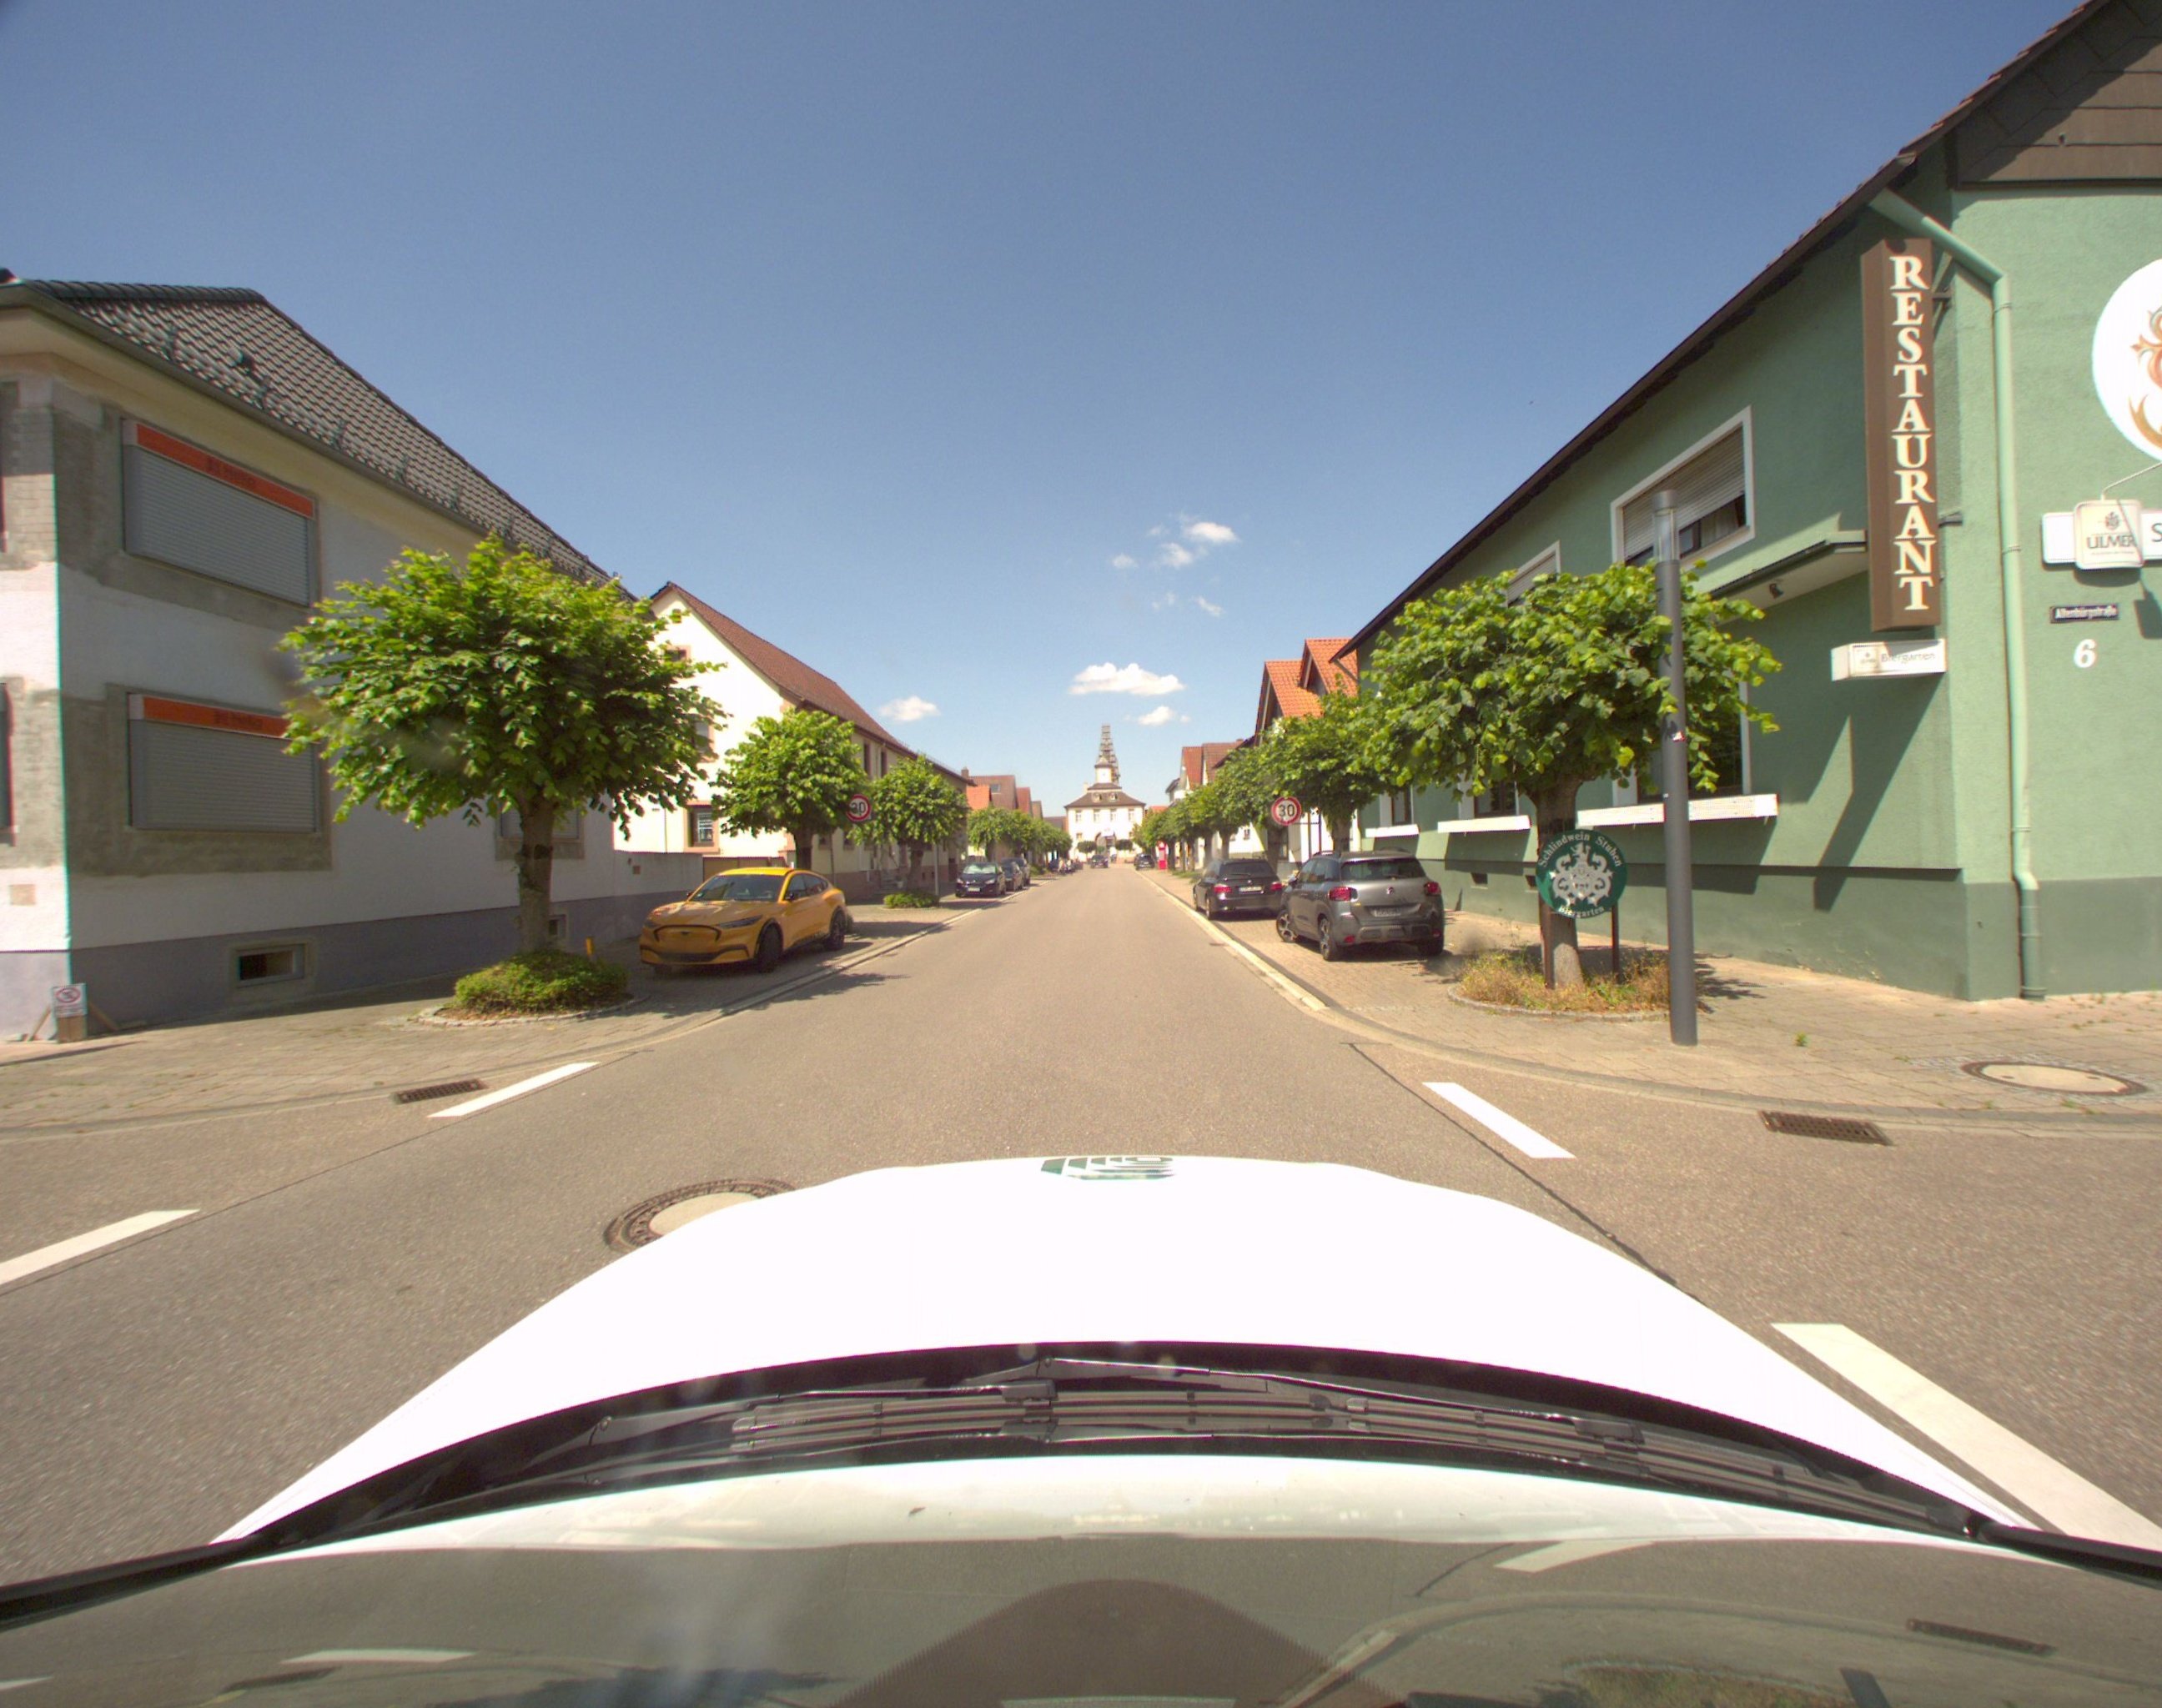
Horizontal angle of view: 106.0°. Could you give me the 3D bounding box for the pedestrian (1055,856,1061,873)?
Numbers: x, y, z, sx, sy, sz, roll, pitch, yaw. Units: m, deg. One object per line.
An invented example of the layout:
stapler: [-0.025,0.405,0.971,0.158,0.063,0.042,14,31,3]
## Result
pedestrian: [-1.912,0.878,68.274,0.354,1.403,0.322,-2,-1,39]

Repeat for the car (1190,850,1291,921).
car: [3.977,0.734,21.000,1.830,1.555,4.315,-3,0,2]

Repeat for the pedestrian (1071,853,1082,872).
pedestrian: [-0.482,0.911,86.626,0.837,2.014,0.879,1,-1,-26]

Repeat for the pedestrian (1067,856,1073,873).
pedestrian: [-0.902,0.896,69.505,0.354,1.403,0.322,-2,-1,39]

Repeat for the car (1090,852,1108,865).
car: [2.192,0.566,98.743,1.988,1.611,4.502,0,-1,-2]

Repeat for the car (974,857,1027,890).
car: [-4.005,0.959,41.262,1.985,1.611,4.692,0,-1,3]

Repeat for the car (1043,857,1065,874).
car: [-2.574,1.083,78.351,1.750,1.555,4.023,-2,0,3]

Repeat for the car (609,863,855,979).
car: [-5.679,0.986,14.058,1.985,1.611,4.693,0,0,3]

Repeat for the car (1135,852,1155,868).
car: [6.562,0.604,83.771,1.830,1.555,4.317,-3,0,3]

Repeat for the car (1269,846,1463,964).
car: [4.442,0.708,13.378,1.831,1.607,4.000,-1,0,1]

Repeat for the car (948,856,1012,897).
car: [-4.328,0.916,35.598,1.985,1.611,4.693,0,1,3]

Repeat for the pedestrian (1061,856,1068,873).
pedestrian: [-1.403,0.893,69.440,0.354,1.403,0.322,-2,-1,39]

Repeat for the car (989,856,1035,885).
car: [-4.019,0.932,48.179,1.985,1.611,4.693,-2,0,3]
